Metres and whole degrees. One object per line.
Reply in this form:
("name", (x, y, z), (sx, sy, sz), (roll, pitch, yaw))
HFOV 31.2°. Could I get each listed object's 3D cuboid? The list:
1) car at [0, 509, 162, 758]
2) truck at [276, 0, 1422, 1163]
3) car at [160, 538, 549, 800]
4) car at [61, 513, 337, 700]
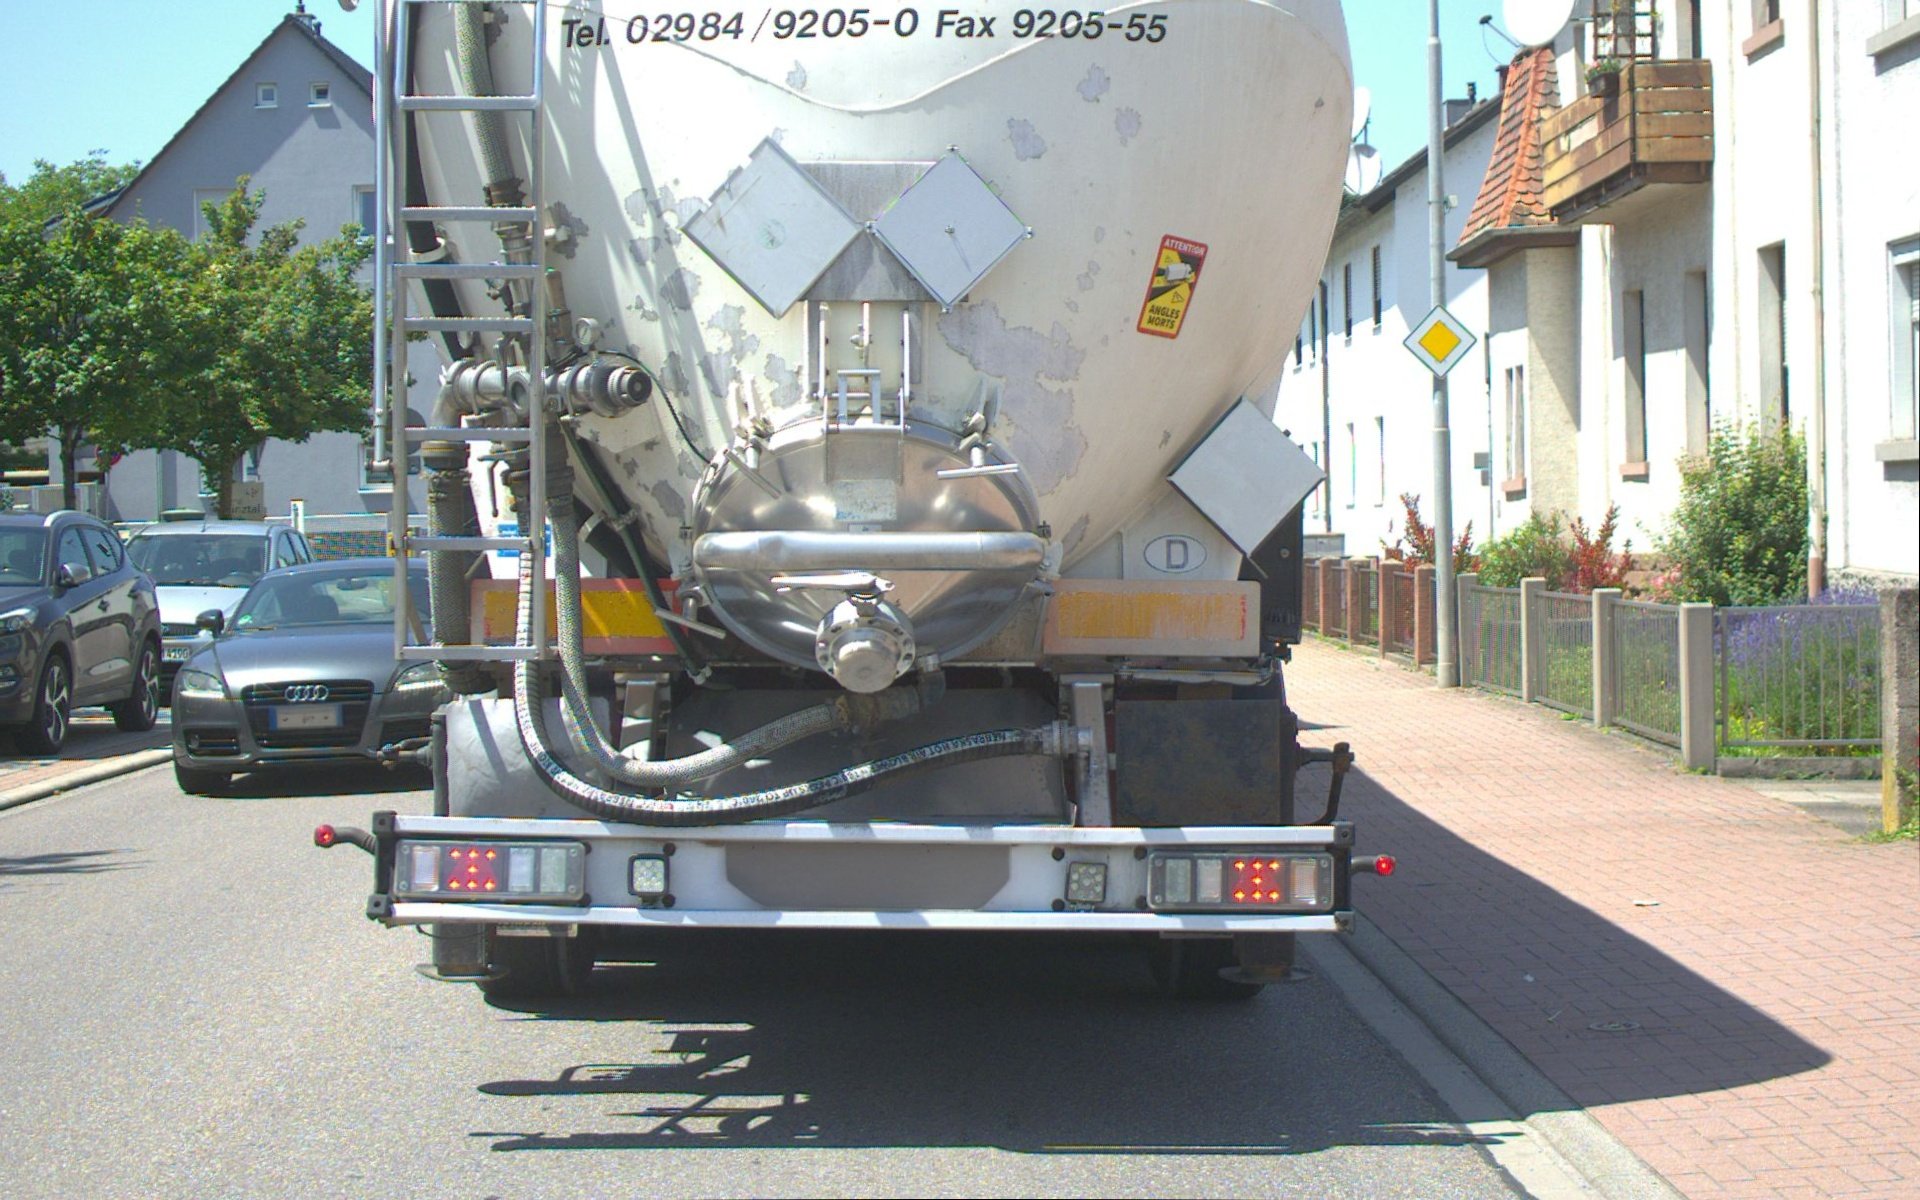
("car", (-6.937, 0.166, 24.246), (1.691, 1.614, 3.998), (0, 1, 0))
("truck", (-0.404, -0.817, 12.722), (2.641, 4.002, 9.562), (0, 1, -2))
("car", (-3.657, 0.354, 21.396), (1.706, 1.365, 3.869), (-3, 2, 0))
("car", (-6.781, 0.008, 30.978), (1.697, 1.575, 3.838), (0, 1, -1))
